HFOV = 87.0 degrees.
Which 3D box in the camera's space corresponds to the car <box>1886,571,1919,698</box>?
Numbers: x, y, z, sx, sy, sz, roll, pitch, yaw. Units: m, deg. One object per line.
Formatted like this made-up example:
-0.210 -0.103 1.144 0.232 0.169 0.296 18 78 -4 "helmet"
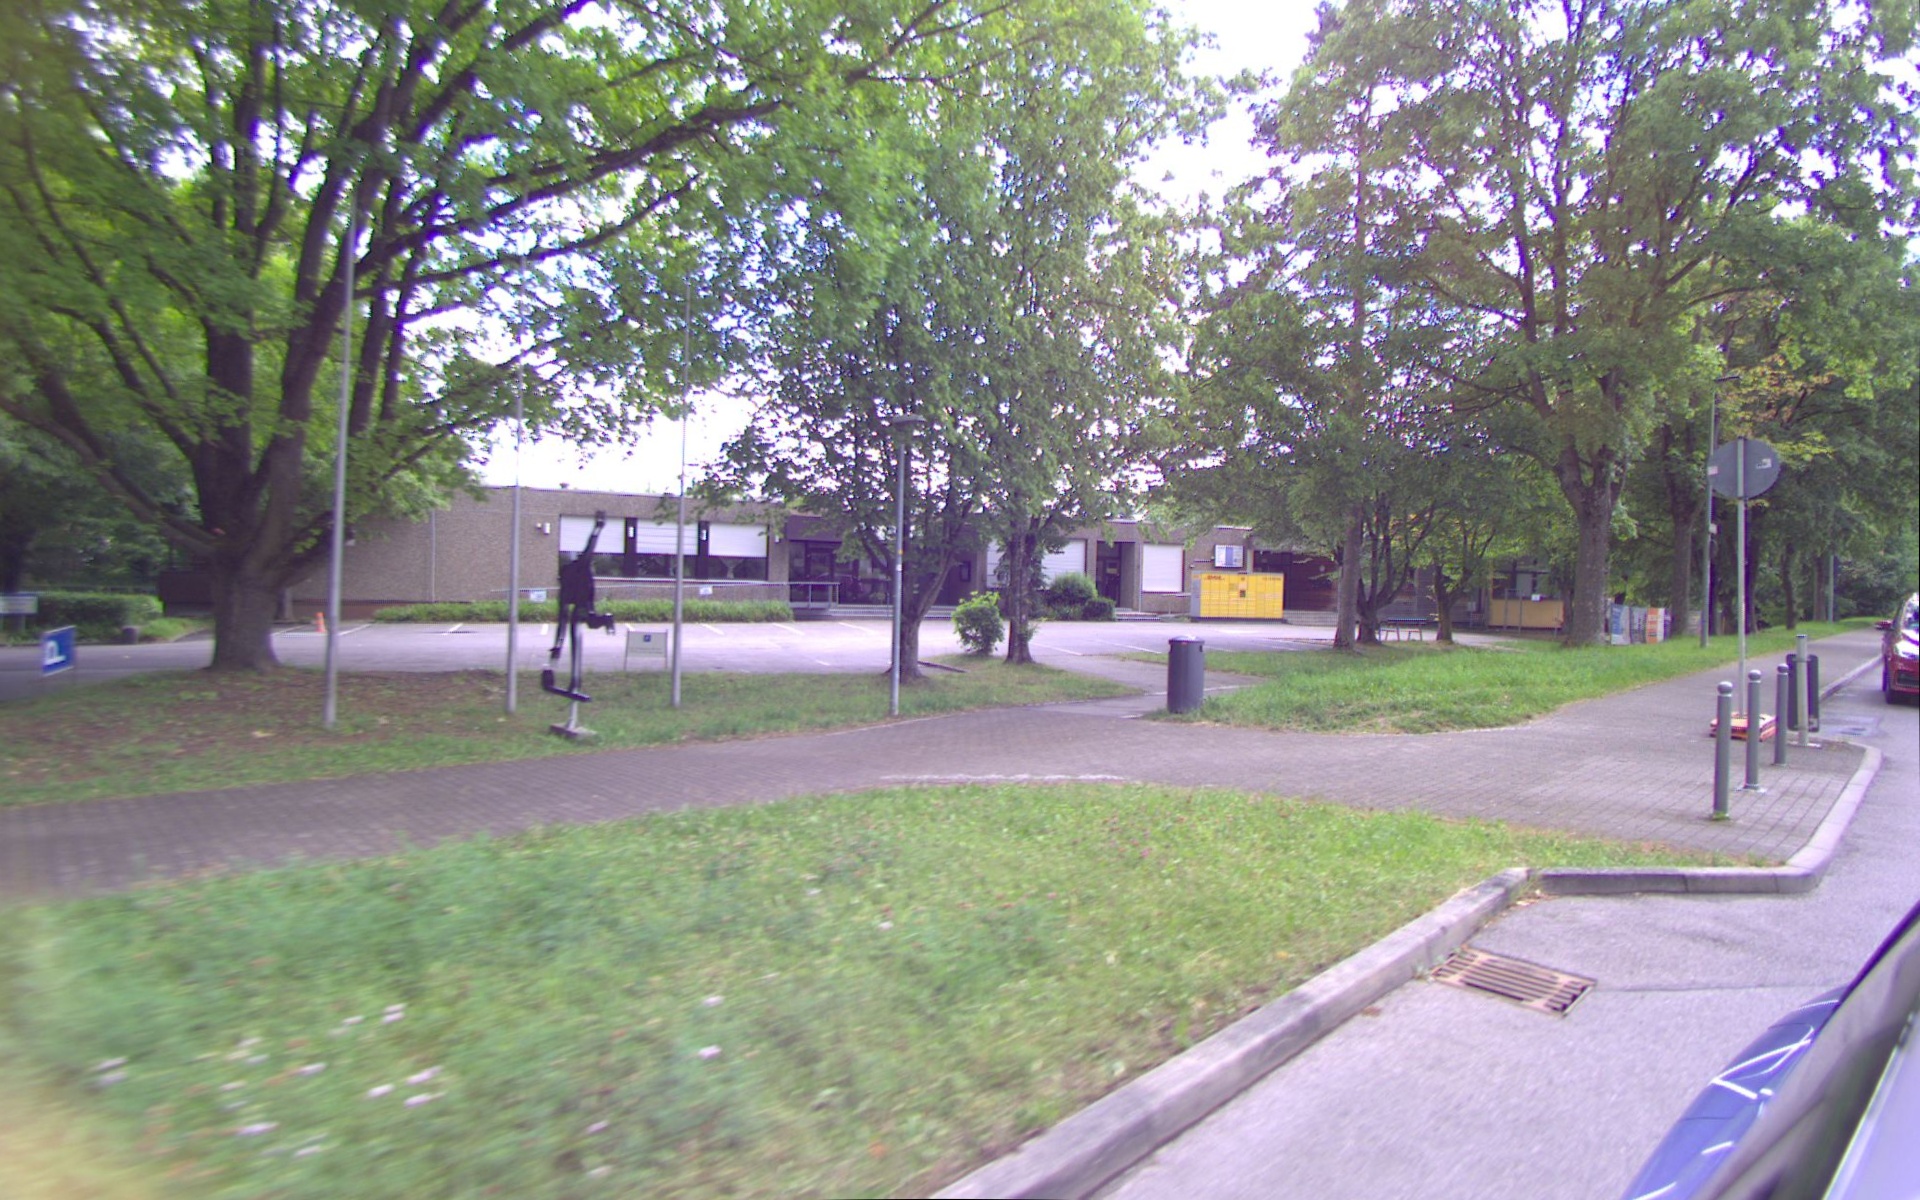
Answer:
15.252 0.496 14.855 3.929 1.748 1.817 -1 4 -39 "car"
